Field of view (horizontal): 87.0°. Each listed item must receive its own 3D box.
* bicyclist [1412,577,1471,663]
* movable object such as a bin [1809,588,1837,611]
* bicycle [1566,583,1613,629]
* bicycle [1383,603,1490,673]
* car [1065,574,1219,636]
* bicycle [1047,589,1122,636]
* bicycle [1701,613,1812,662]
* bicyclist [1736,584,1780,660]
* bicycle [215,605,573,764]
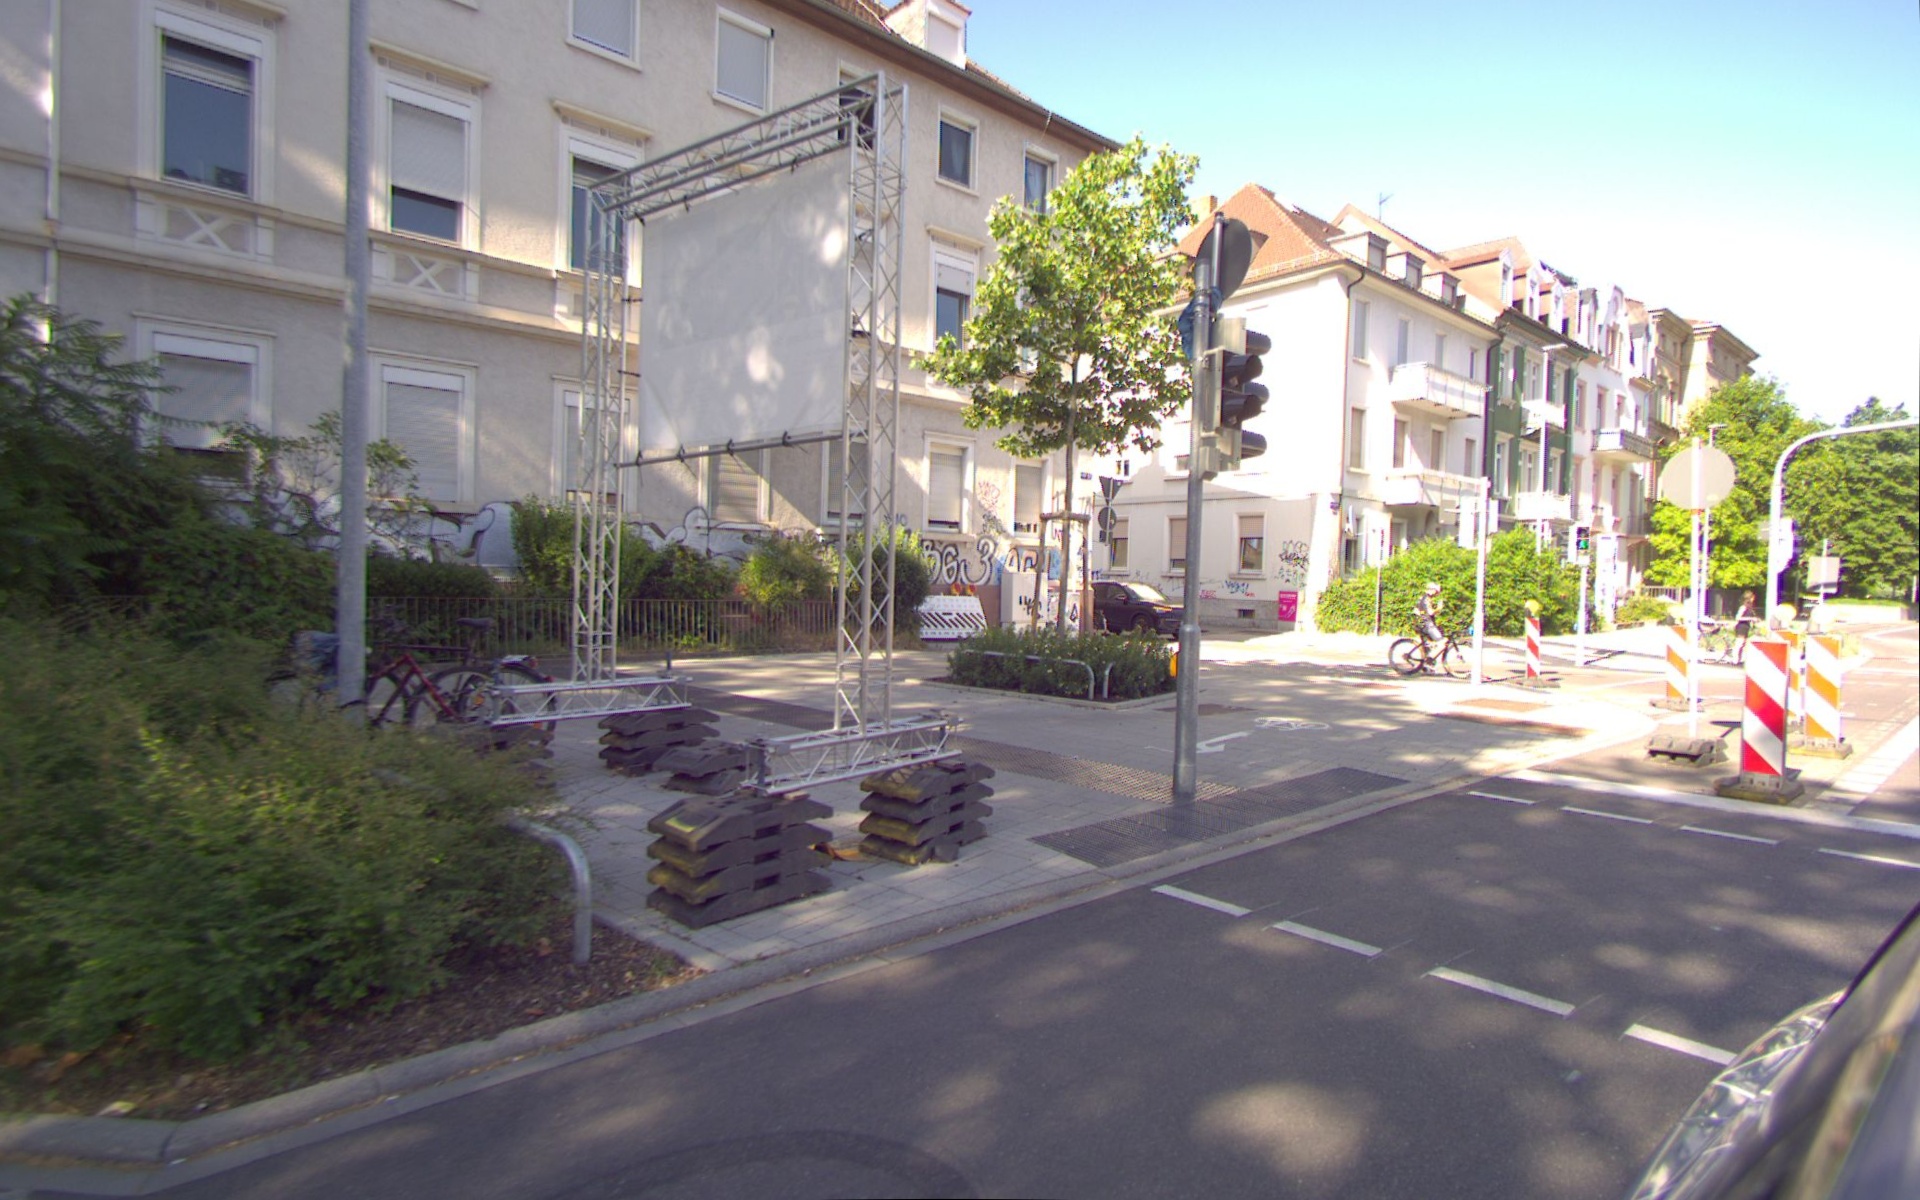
[{"bbox_3d":[8.794,0.349,18.518,0.861,1.518,0.721,2,1,21],"label":"bicyclist"},{"bbox_3d":[55.248,-0.050,64.823,0.964,1.415,1.276,4,2,26],"label":"movable object such as a bin"},{"bbox_3d":[20.872,0.196,33.532,2.448,1.462,0.709,1,-1,-43],"label":"bicycle"},{"bbox_3d":[8.677,0.671,18.497,1.667,1.111,0.686,4,2,22],"label":"bicycle"},{"bbox_3d":[5.203,0.082,29.413,1.947,1.639,4.263,0,1,-36],"label":"car"},{"bbox_3d":[3.061,0.295,25.139,0.568,1.093,2.001,0,1,-39],"label":"bicycle"},{"bbox_3d":[18.514,0.853,23.565,0.594,1.038,1.965,1,0,-41],"label":"bicycle"},{"bbox_3d":[18.518,0.499,23.485,0.843,1.730,0.604,1,1,-41],"label":"bicyclist"},{"bbox_3d":[-3.827,0.565,6.968,2.088,1.017,0.590,1,1,-6],"label":"bicycle"}]
